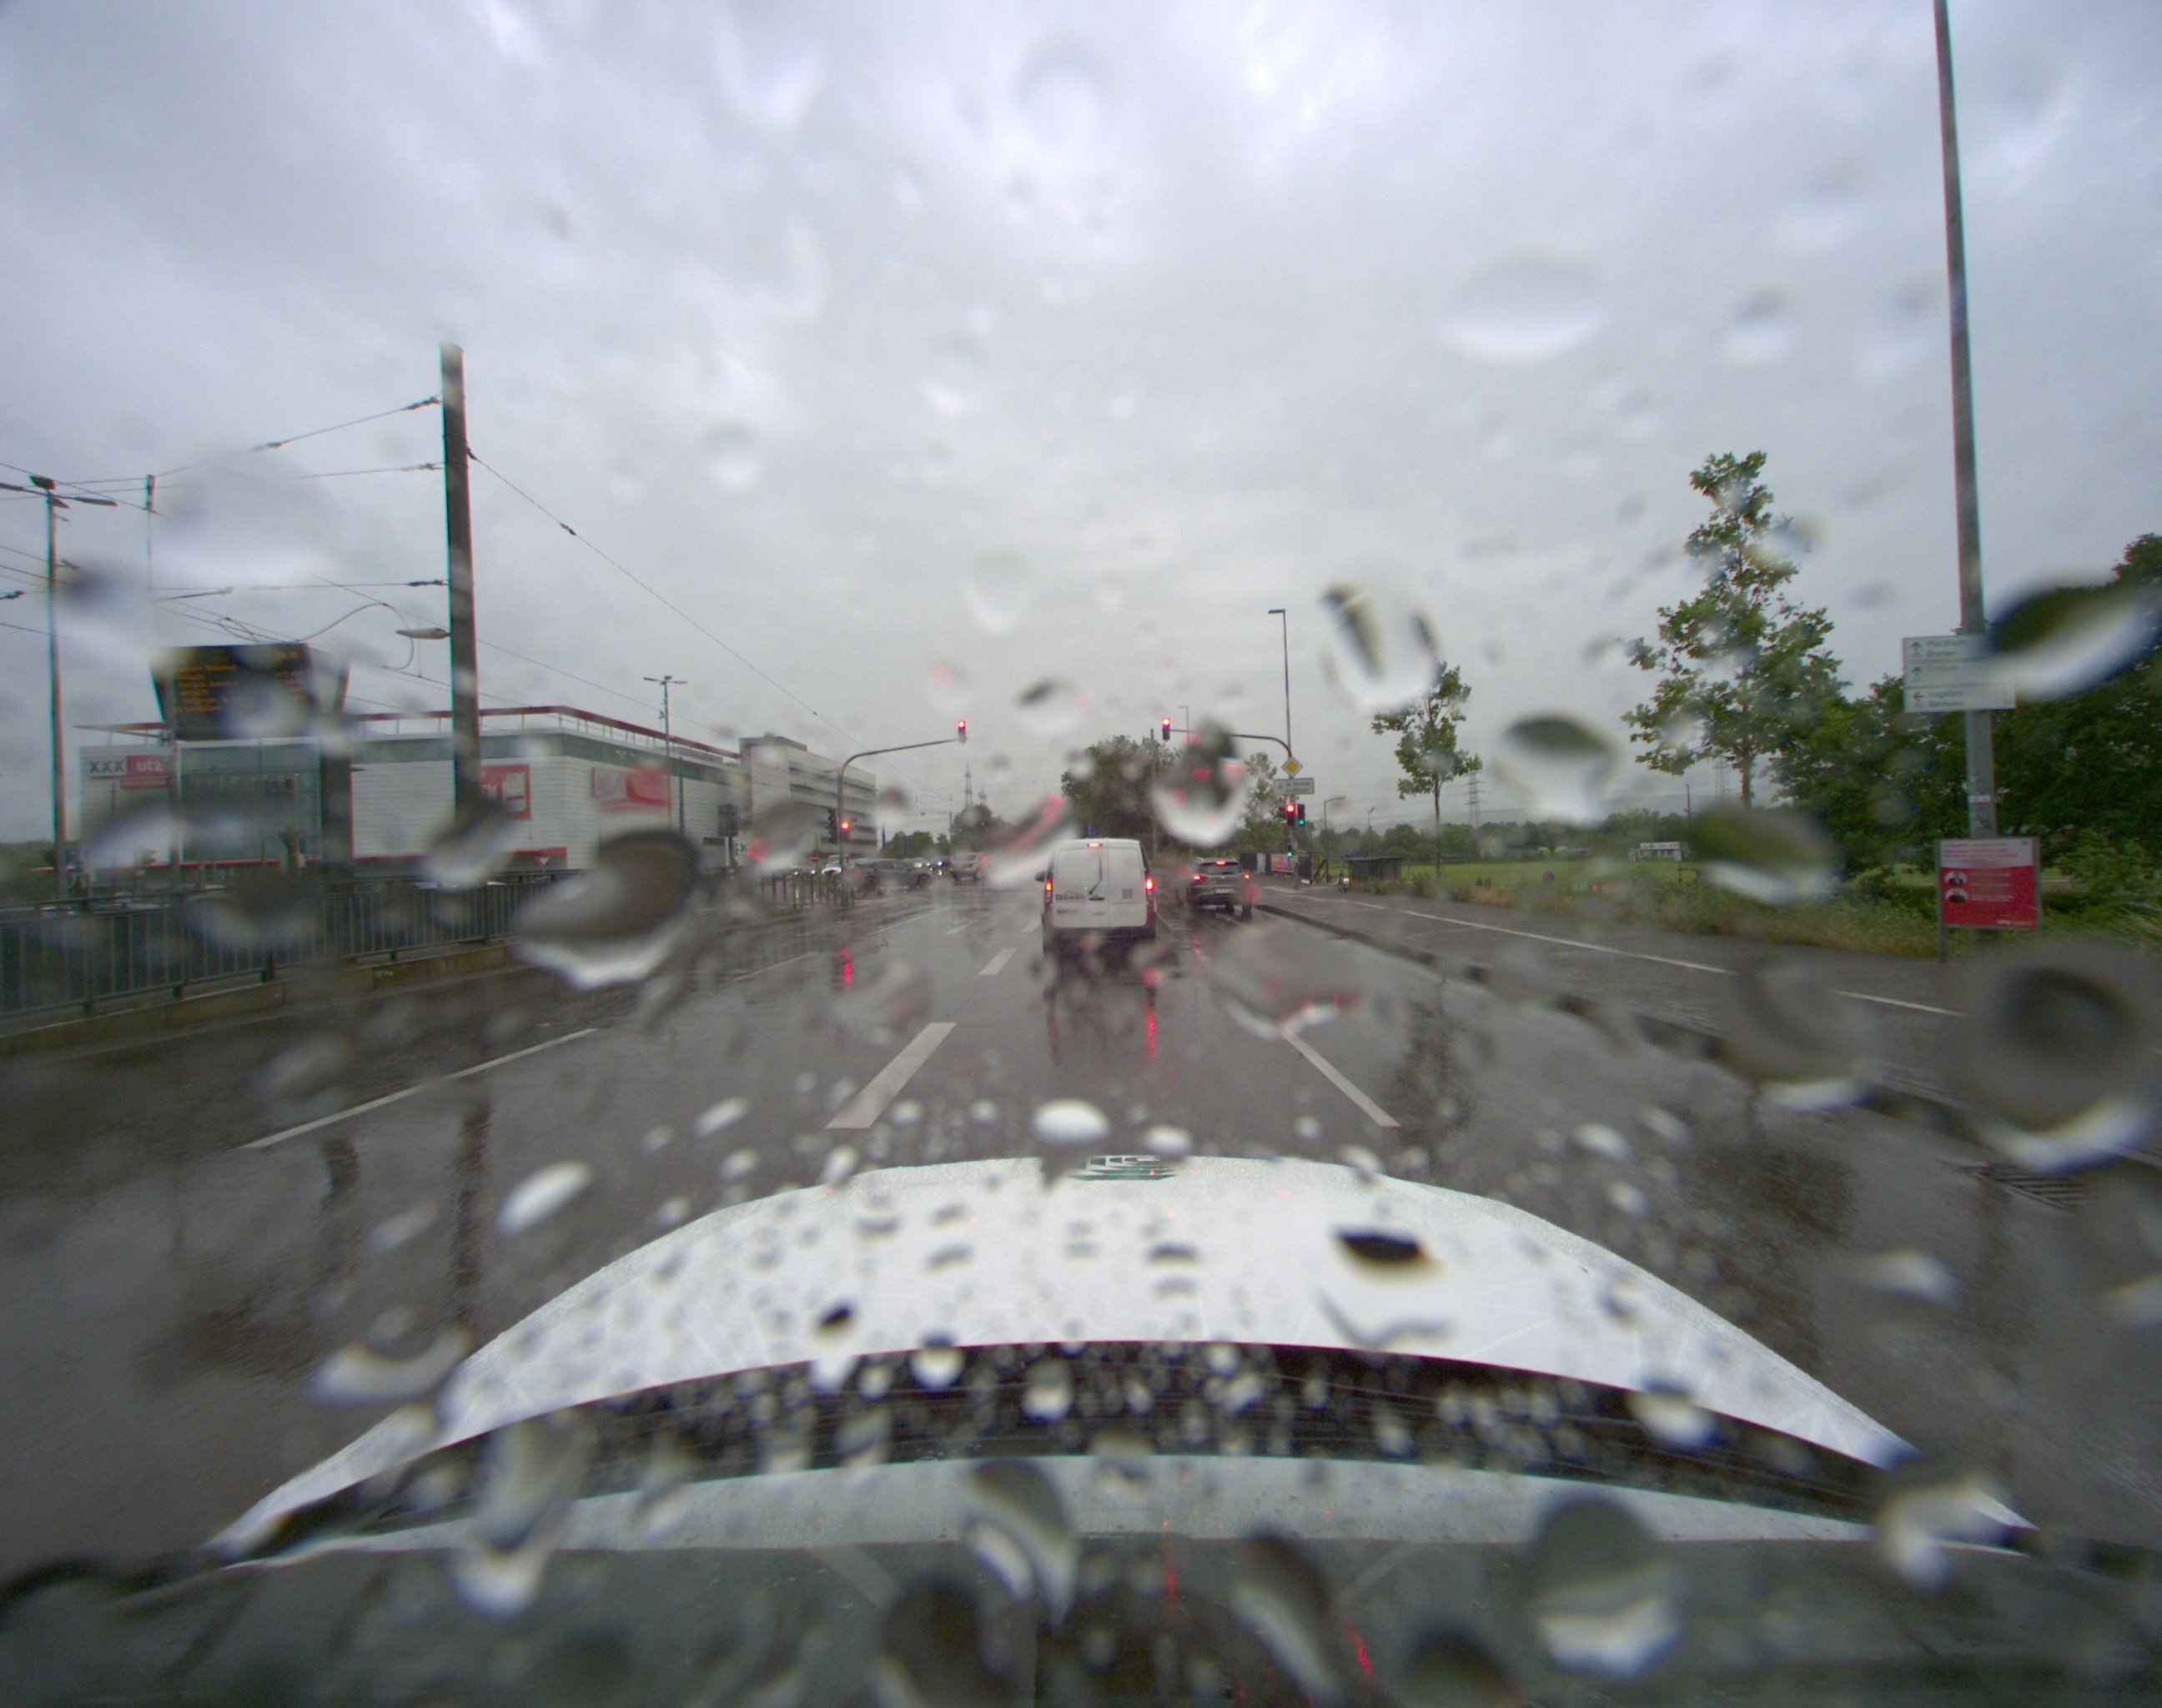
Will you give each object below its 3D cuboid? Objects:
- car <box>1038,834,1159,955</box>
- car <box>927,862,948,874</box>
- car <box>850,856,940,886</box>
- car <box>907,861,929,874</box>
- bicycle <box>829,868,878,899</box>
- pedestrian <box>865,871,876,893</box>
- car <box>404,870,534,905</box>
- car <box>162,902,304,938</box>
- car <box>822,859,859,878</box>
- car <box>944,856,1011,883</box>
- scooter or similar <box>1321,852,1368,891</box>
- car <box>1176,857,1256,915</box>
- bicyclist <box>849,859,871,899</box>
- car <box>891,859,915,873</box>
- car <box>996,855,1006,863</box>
[{"bbox_3d":[0.204,0.584,14.062,1.749,1.750,4.166,-1,0,-2],"label":"car"},{"bbox_3d":[-17.491,1.733,99.216,1.704,1.426,3.810,1,-1,2],"label":"car"},{"bbox_3d":[-9.507,0.889,41.728,4.212,1.451,1.700,1,-2,-31],"label":"car"},{"bbox_3d":[-18.380,1.490,91.922,1.554,1.426,3.569,1,-1,2],"label":"car"},{"bbox_3d":[-8.691,1.101,31.118,1.768,1.137,0.514,0,-1,-41],"label":"bicycle"},{"bbox_3d":[-8.597,1.140,33.280,0.314,0.897,0.380,0,0,-1],"label":"pedestrian"},{"bbox_3d":[-27.656,1.493,36.936,4.257,1.502,1.816,1,-1,-9],"label":"car"},{"bbox_3d":[-38.570,3.010,37.123,4.483,1.502,1.712,1,-1,-3],"label":"car"},{"bbox_3d":[-19.203,1.159,65.216,1.704,1.426,3.810,1,-1,2],"label":"car"},{"bbox_3d":[-6.754,1.037,53.441,1.928,1.662,4.492,-1,-2,32],"label":"car"},{"bbox_3d":[8.751,0.557,27.176,0.687,1.211,3.022,-2,0,3],"label":"scooter or similar"},{"bbox_3d":[3.714,0.840,23.024,1.678,1.508,3.921,0,-1,1],"label":"car"},{"bbox_3d":[-8.488,0.955,31.279,0.608,1.491,0.593,0,-1,-39],"label":"bicyclist"},{"bbox_3d":[-18.648,1.319,85.438,1.554,1.426,3.569,1,-1,2],"label":"car"},{"bbox_3d":[-16.219,1.014,165.072,1.554,1.426,3.569,1,-1,2],"label":"car"}]
